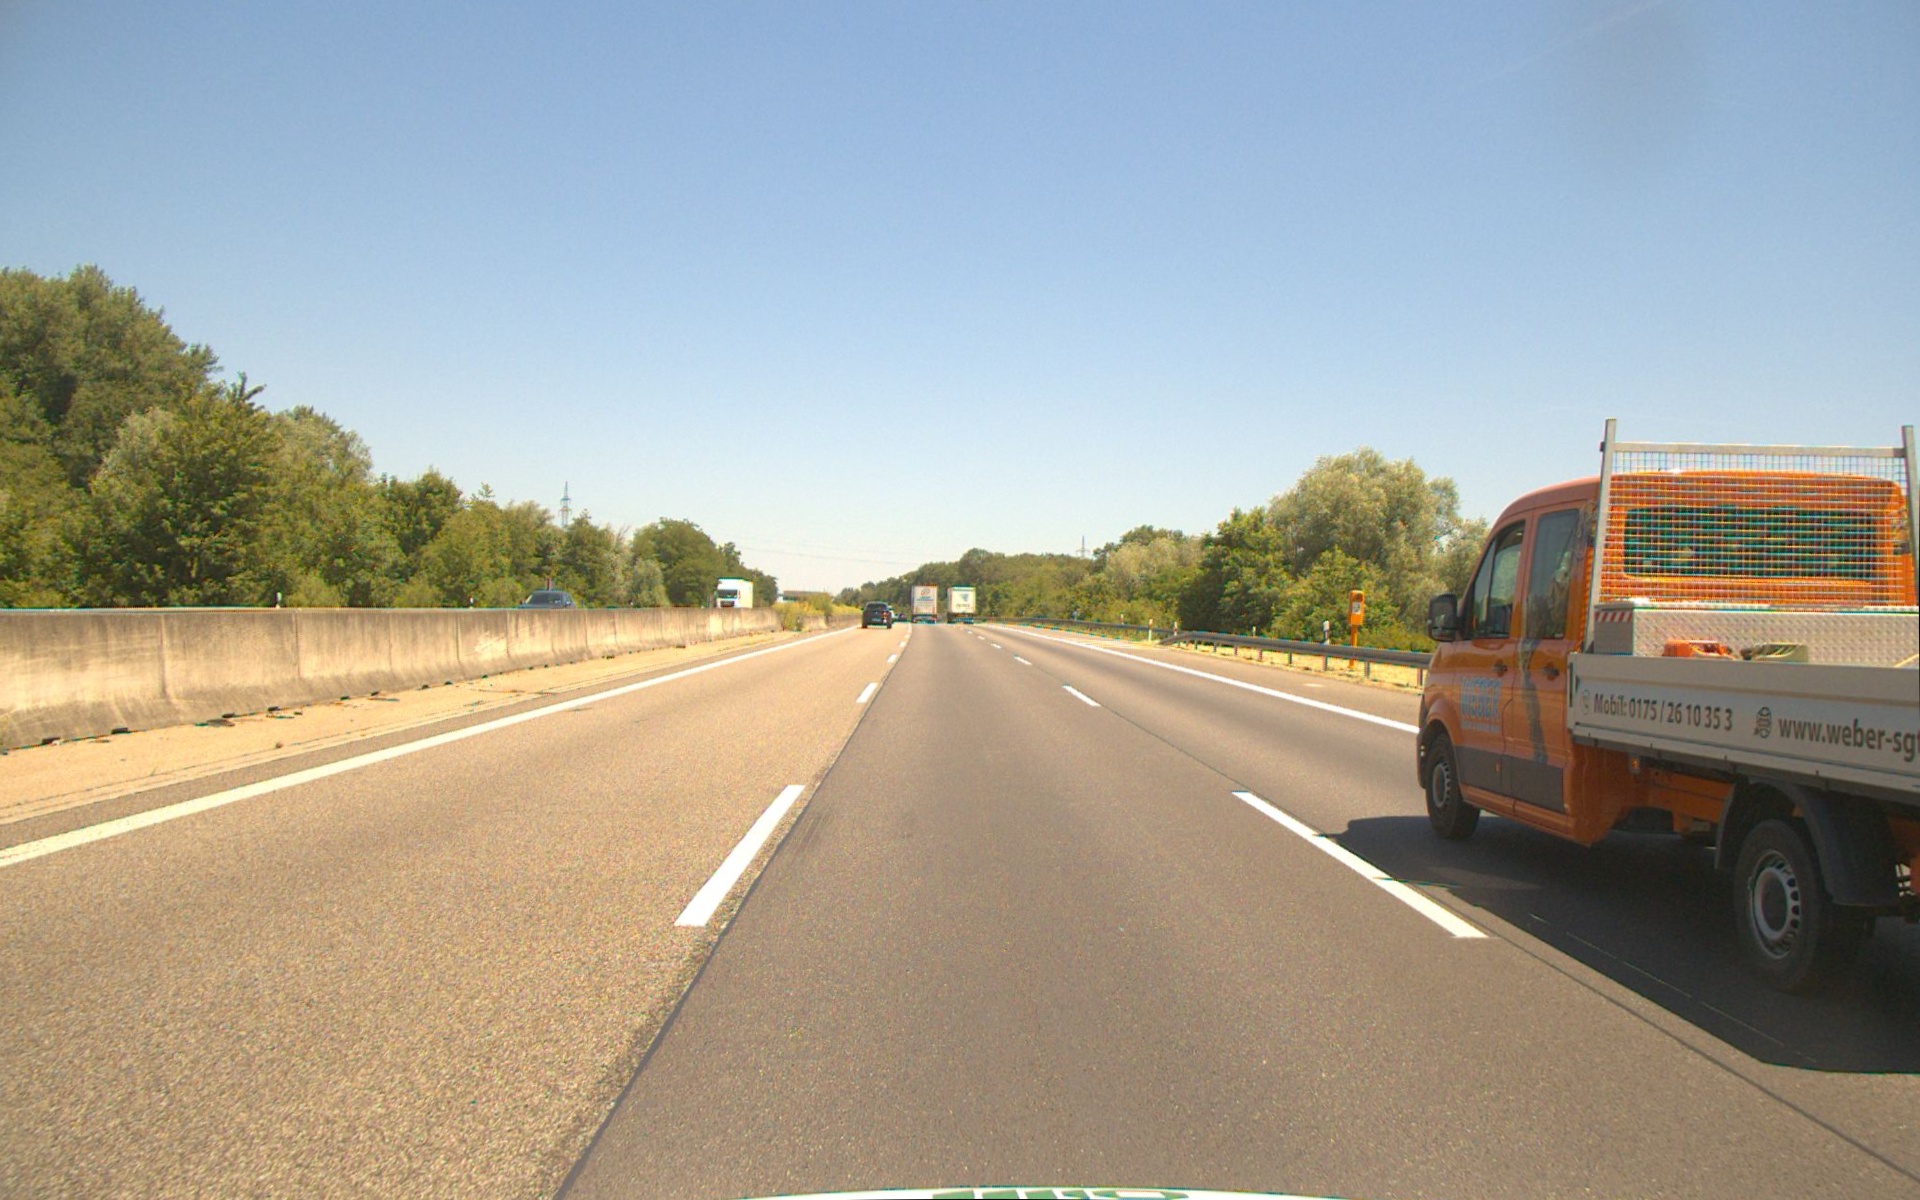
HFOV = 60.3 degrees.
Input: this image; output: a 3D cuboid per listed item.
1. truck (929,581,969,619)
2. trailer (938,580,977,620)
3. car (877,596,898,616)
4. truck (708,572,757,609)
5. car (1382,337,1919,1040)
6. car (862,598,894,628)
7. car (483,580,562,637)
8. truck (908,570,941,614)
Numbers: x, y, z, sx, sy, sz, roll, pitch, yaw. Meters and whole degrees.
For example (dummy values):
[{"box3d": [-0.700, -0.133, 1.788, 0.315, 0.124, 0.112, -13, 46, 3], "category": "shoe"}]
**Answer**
[{"box3d": [-1.347, -0.044, 189.379, 3.263, 4.124, 10.935, 1, 0, -7], "category": "truck"}, {"box3d": [-0.326, -0.034, 180.436, 3.303, 4.215, 9.079, 1, 0, -6], "category": "trailer"}, {"box3d": [-7.006, 0.575, 160.589, 1.954, 1.907, 3.998, 2, 0, -3], "category": "car"}, {"box3d": [-24.963, -1.006, 182.474, 3.526, 3.800, 17.476, 1, 0, -2], "category": "truck"}, {"box3d": [4.276, 0.315, 9.020, 1.953, 2.447, 7.225, 1, 0, -1], "category": "car"}, {"box3d": [-5.457, 0.851, 110.450, 1.953, 1.907, 3.999, 1, 0, -1], "category": "car"}, {"box3d": [-16.826, 0.314, 63.737, 1.953, 2.049, 4.085, 1, 0, -1], "category": "car"}, {"box3d": [-3.751, -0.848, 173.868, 3.165, 4.275, 8.462, 4, 0, -2], "category": "truck"}]
